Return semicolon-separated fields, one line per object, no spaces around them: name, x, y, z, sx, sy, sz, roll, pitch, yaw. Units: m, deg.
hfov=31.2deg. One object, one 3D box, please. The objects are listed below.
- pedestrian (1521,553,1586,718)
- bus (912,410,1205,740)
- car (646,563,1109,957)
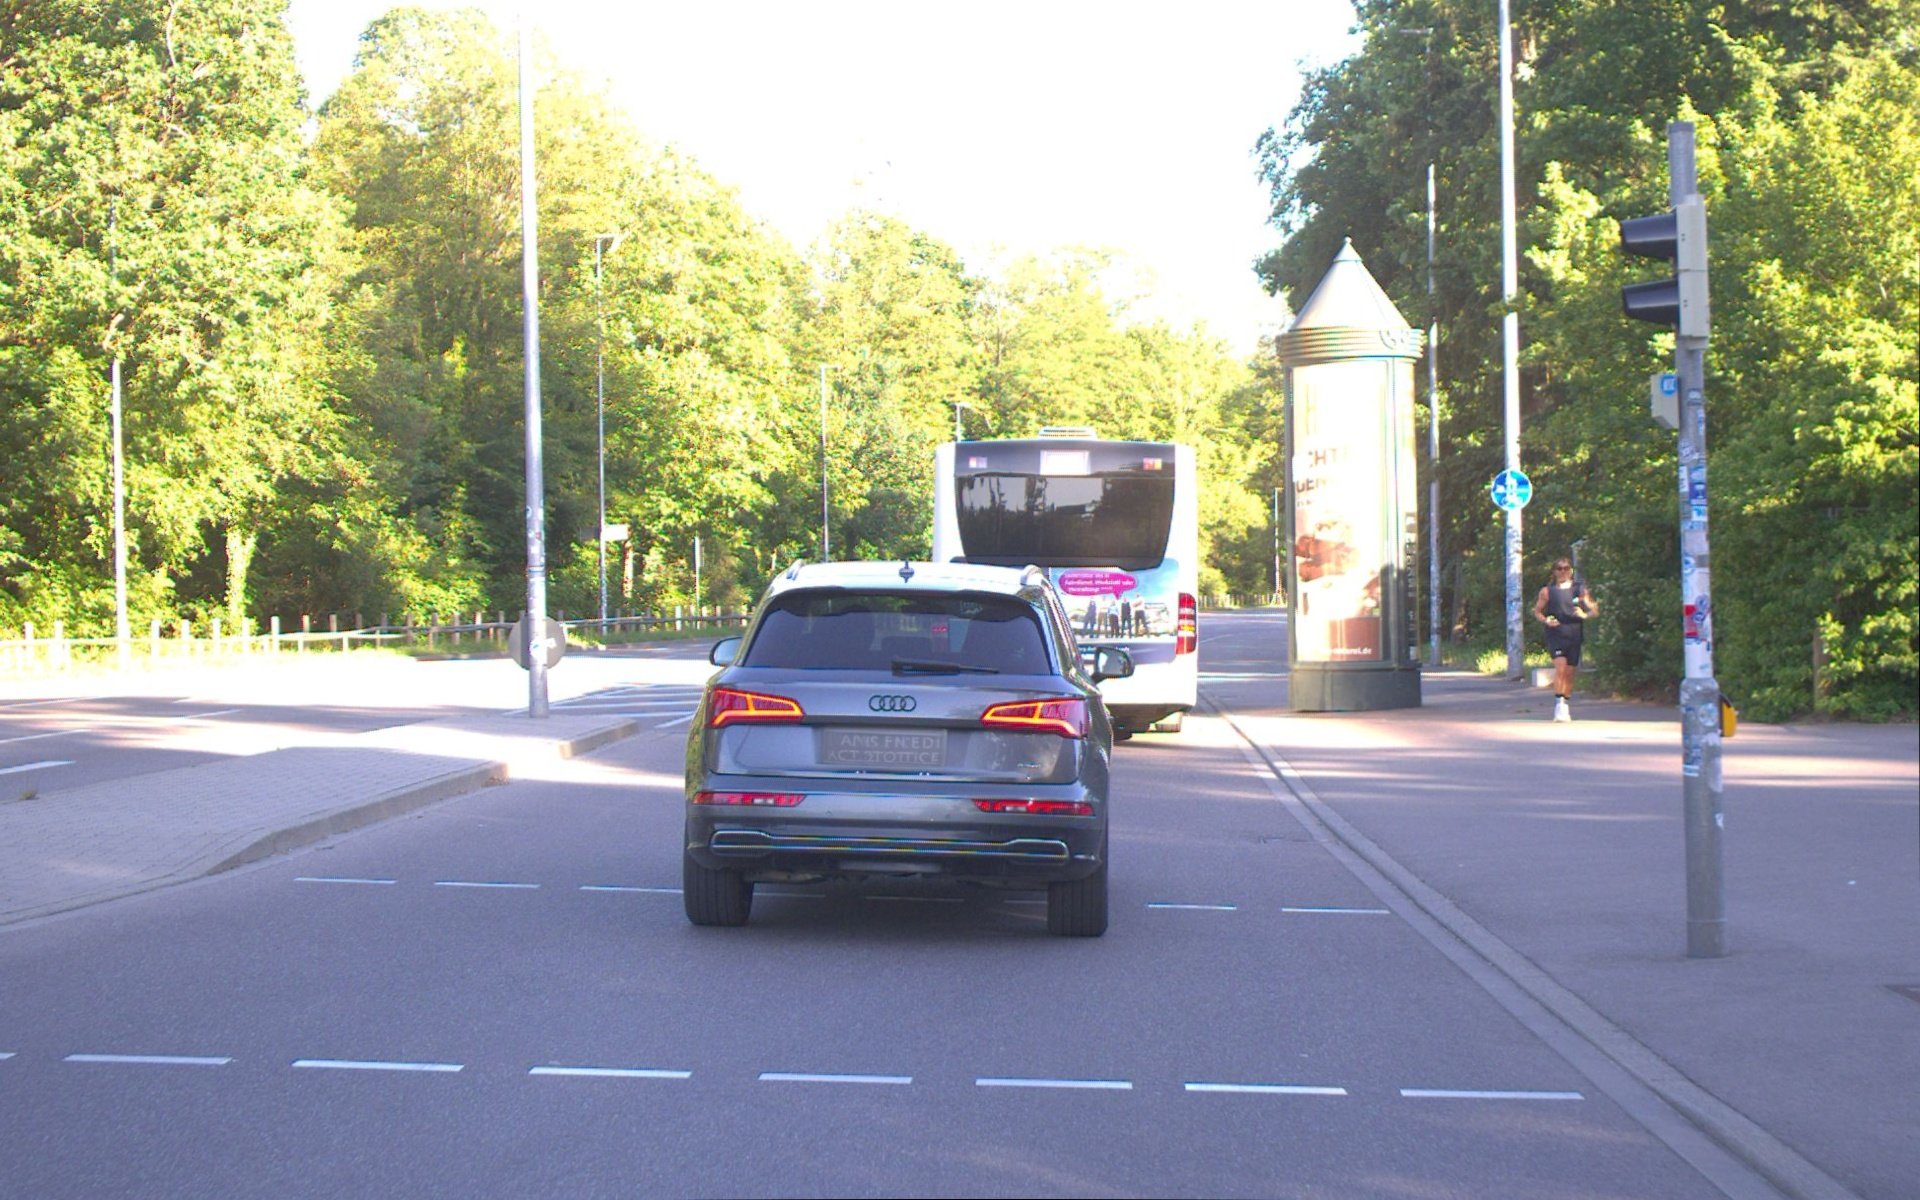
pedestrian;6.164;0.363;35.698;0.626;1.682;0.882;1;0;10
bus;0.945;-0.244;38.113;2.689;3.032;12.041;1;0;0
car;-0.334;0.648;16.558;1.893;1.600;4.544;1;0;0
